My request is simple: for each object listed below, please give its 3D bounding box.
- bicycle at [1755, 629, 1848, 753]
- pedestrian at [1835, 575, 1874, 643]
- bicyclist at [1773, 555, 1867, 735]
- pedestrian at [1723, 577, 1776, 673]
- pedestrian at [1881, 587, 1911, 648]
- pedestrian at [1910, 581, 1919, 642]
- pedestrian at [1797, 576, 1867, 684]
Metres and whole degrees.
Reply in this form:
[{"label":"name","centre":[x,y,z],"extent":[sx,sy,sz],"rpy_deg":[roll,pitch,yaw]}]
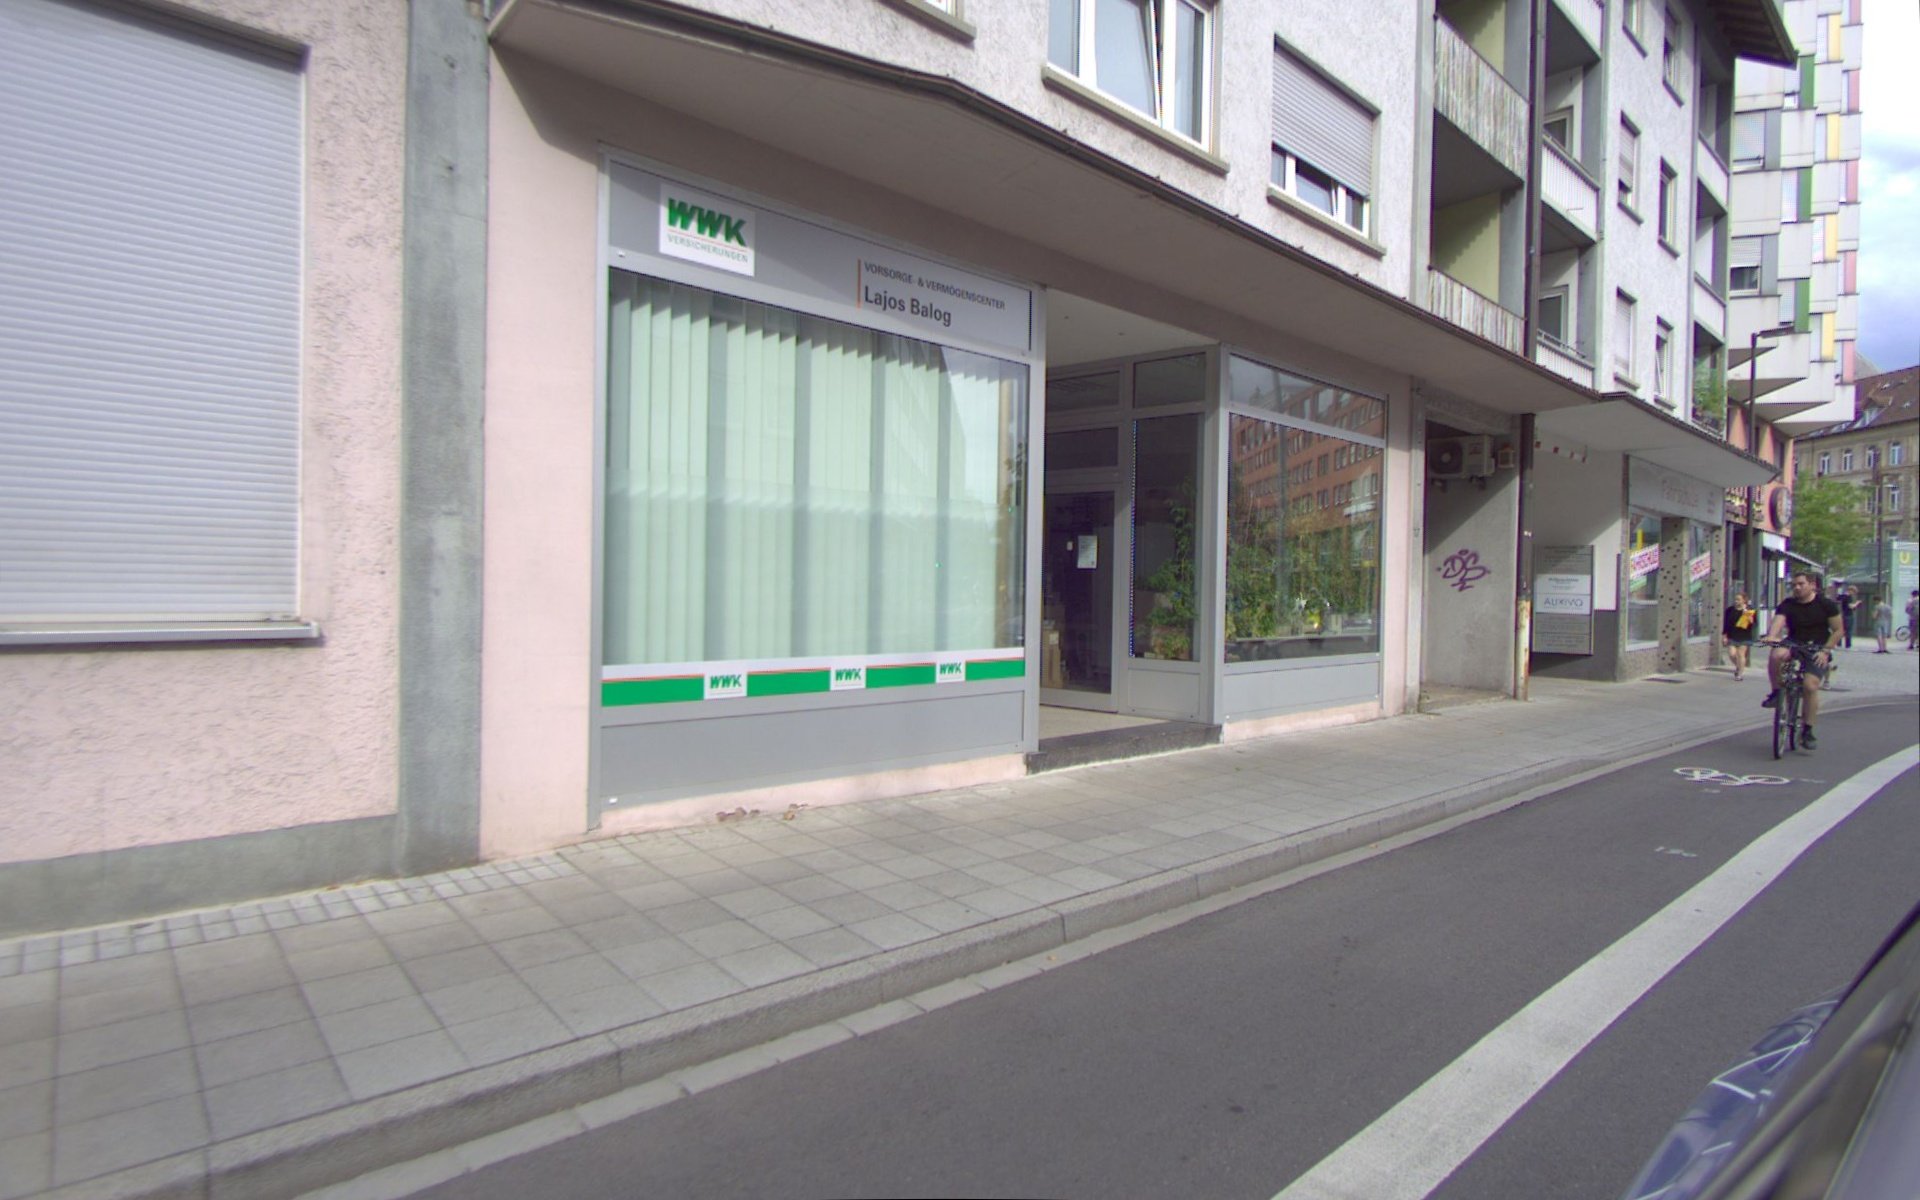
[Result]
[{"label":"bicycle","centre":[8.509,0.874,10.203],"extent":[1.981,1.136,0.406],"rpy_deg":[2,-1,-41]},{"label":"pedestrian","centre":[26.268,0.255,29.731],"extent":[0.579,1.926,0.673],"rpy_deg":[1,3,-41]},{"label":"bicyclist","centre":[8.657,0.426,10.187],"extent":[0.847,1.731,0.559],"rpy_deg":[1,1,-40]},{"label":"pedestrian","centre":[14.336,0.438,18.363],"extent":[0.928,1.689,0.605],"rpy_deg":[0,1,-44]},{"label":"pedestrian","centre":[26.780,0.484,28.951],"extent":[0.579,1.693,0.473],"rpy_deg":[1,3,-41]},{"label":"pedestrian","centre":[29.814,0.365,31.111],"extent":[0.954,1.874,0.658],"rpy_deg":[0,4,-39]},{"label":"pedestrian","centre":[15.016,0.490,17.437],"extent":[0.845,1.771,0.752],"rpy_deg":[0,2,-42]}]
